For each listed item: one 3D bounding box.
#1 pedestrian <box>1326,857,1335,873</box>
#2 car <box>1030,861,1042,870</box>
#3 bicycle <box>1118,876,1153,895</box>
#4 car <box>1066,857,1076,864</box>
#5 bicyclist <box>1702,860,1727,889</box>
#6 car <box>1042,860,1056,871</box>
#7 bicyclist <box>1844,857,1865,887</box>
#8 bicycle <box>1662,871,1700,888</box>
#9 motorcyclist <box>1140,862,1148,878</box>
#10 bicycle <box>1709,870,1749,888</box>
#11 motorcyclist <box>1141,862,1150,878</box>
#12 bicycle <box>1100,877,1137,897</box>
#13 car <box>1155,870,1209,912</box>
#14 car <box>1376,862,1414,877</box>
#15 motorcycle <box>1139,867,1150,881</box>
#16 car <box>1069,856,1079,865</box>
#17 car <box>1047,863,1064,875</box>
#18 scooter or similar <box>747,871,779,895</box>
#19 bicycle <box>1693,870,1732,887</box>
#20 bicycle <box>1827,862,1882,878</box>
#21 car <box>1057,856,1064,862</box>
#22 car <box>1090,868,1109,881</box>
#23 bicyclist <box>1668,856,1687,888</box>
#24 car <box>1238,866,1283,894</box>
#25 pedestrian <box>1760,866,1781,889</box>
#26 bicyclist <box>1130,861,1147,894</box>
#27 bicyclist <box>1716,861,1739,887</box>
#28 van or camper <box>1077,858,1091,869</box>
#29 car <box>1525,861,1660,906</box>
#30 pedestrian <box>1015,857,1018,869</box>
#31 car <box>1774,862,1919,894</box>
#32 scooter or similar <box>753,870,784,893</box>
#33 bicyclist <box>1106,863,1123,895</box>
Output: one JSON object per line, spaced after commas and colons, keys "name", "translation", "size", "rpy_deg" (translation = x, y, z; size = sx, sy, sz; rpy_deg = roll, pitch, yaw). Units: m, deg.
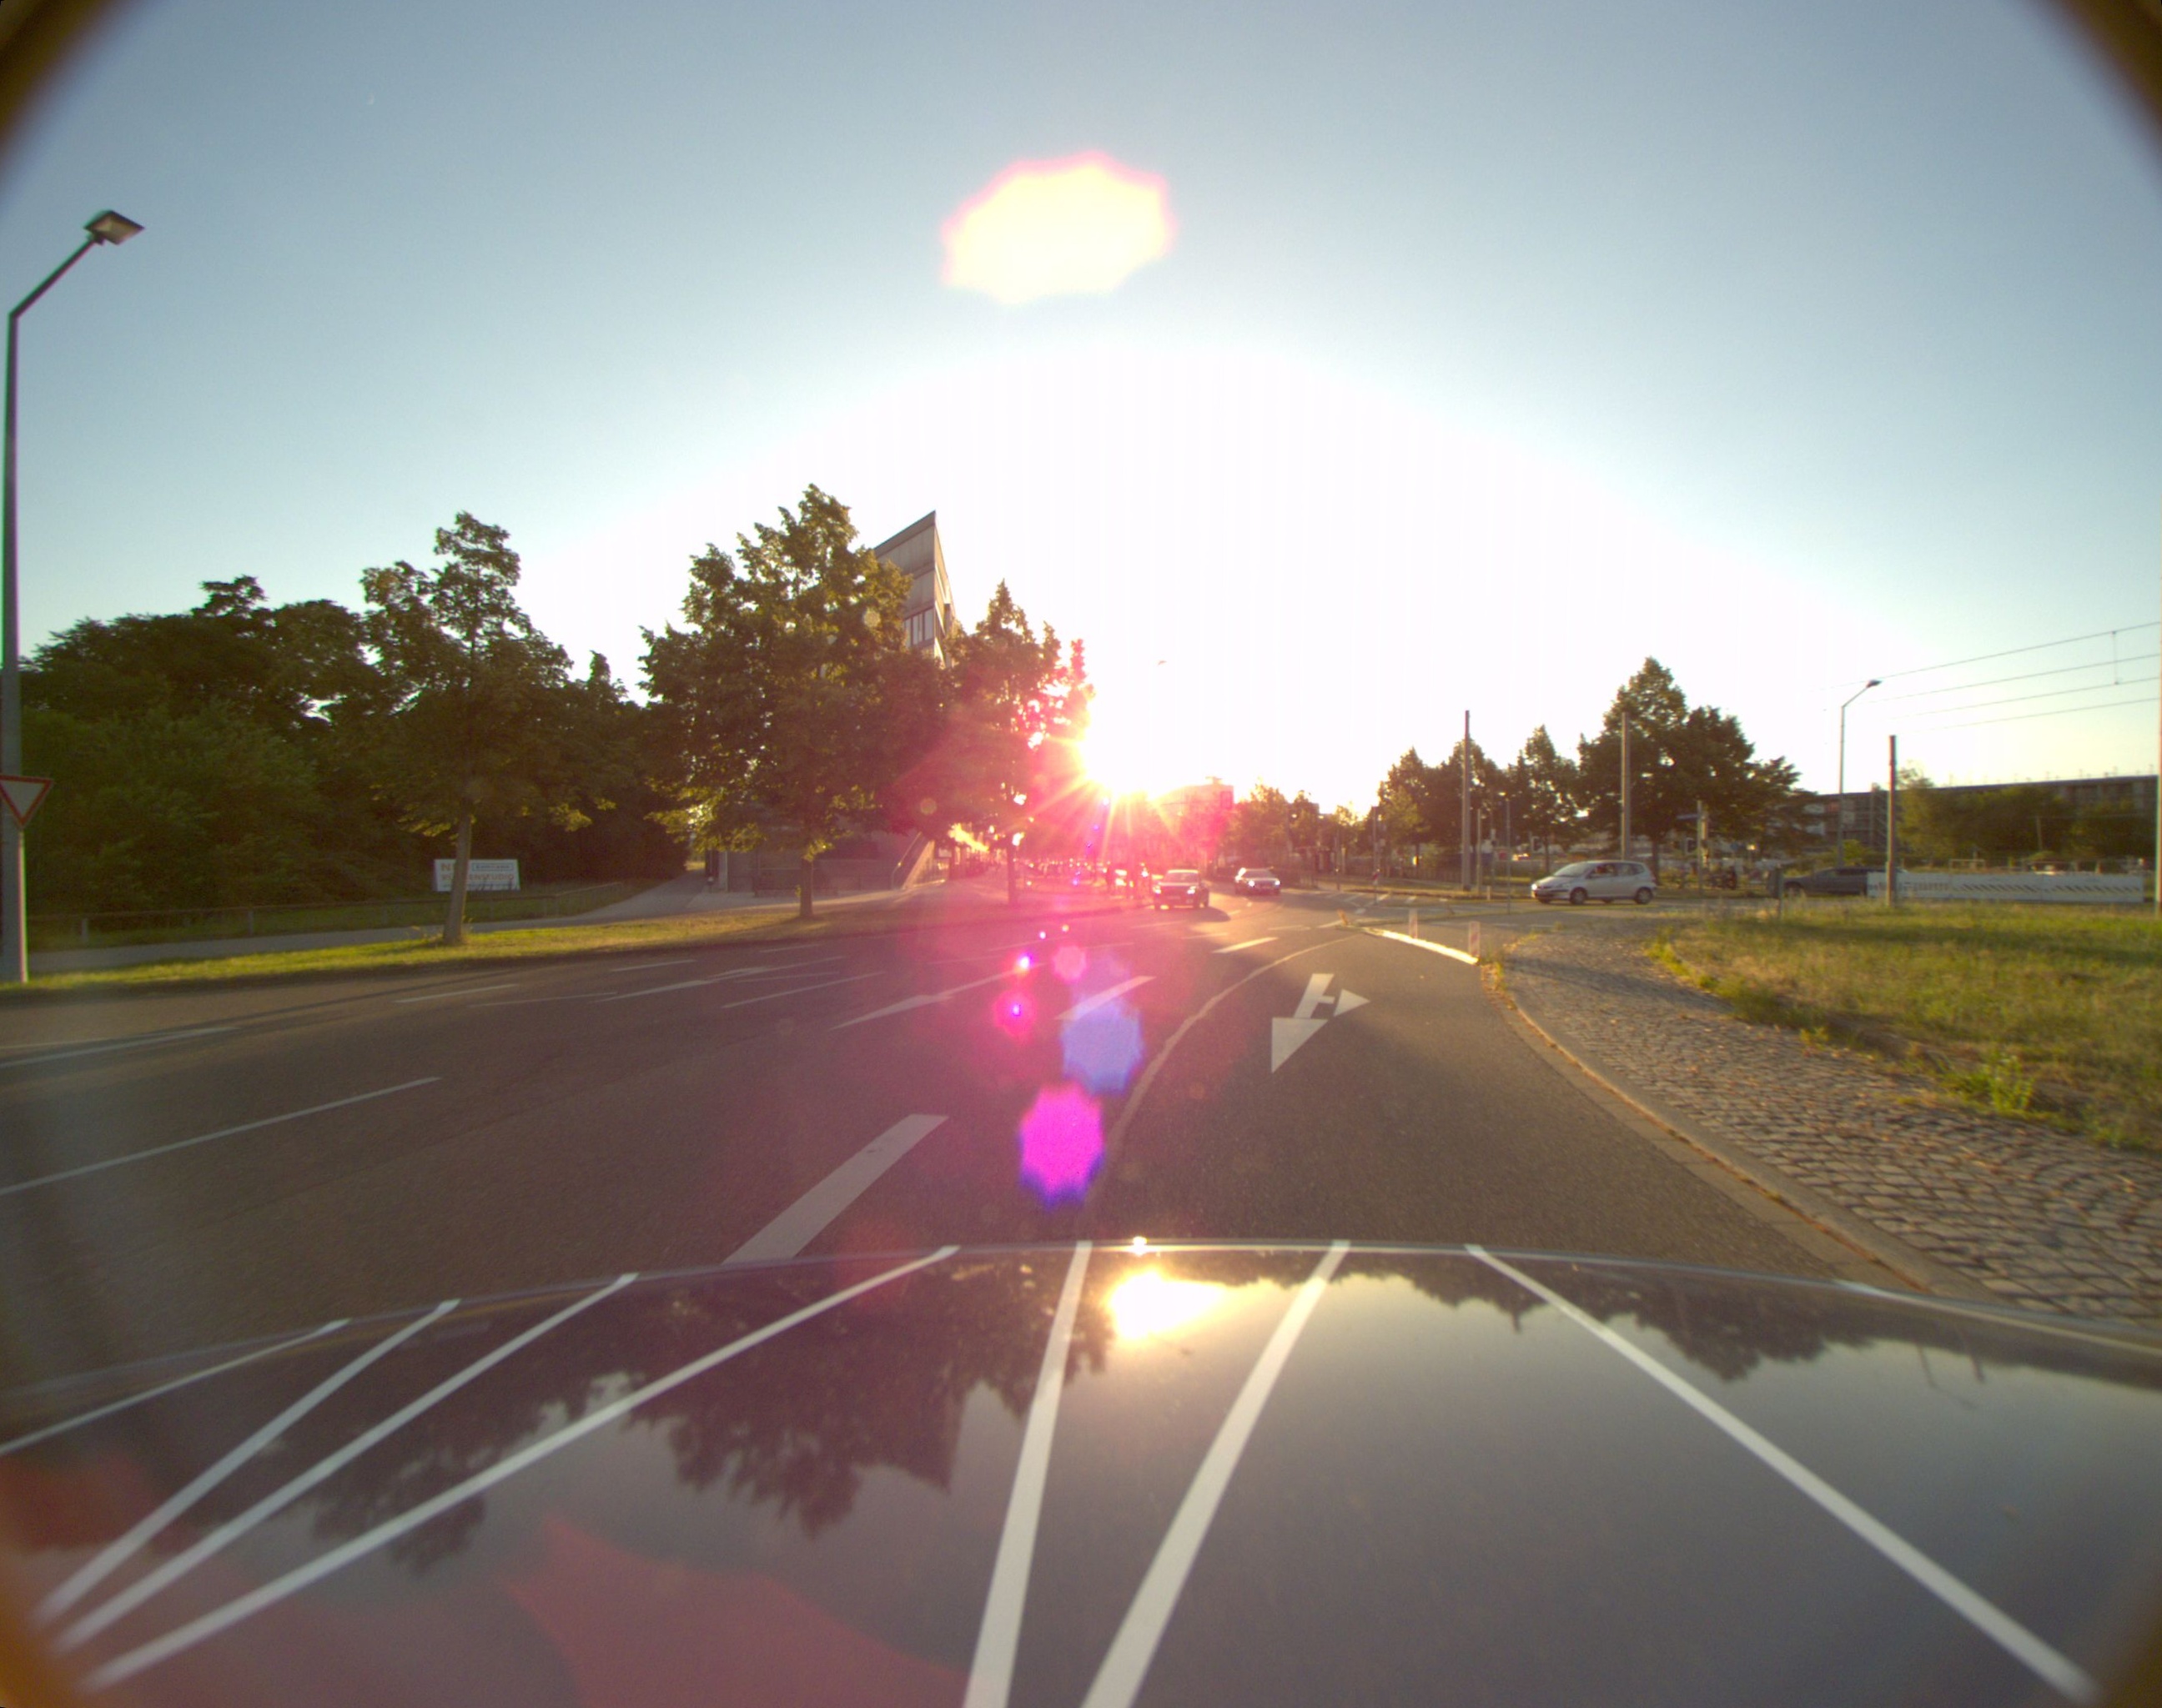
{"name": "pedestrian", "translation": [24.210, 1.064, 73.790], "size": [0.708, 1.623, 0.446], "rpy_deg": [0, 0, -7]}
{"name": "car", "translation": [-7.375, 1.836, 123.696], "size": [1.803, 1.455, 3.998], "rpy_deg": [0, 0, -5]}
{"name": "bicycle", "translation": [2.934, 1.699, 40.976], "size": [1.862, 1.016, 0.438], "rpy_deg": [0, 0, 2]}
{"name": "car", "translation": [-2.480, 1.533, 182.004], "size": [1.894, 1.613, 3.997], "rpy_deg": [-1, 0, -8]}
{"name": "bicyclist", "translation": [36.878, 1.181, 44.232], "size": [0.814, 1.630, 0.815], "rpy_deg": [0, 0, -2]}
{"name": "car", "translation": [-4.528, 1.601, 107.107], "size": [1.803, 1.455, 3.998], "rpy_deg": [0, 0, -5]}
{"name": "bicyclist", "translation": [42.559, 0.996, 41.828], "size": [0.796, 1.624, 0.697], "rpy_deg": [0, 0, 44]}
{"name": "bicycle", "translation": [36.194, 1.550, 45.847], "size": [1.842, 0.975, 0.550], "rpy_deg": [0, 0, -2]}
{"name": "motorcyclist", "translation": [5.480, 1.368, 66.139], "size": [0.636, 1.400, 0.594], "rpy_deg": [0, 1, -7]}
{"name": "bicycle", "translation": [36.948, 1.417, 43.336], "size": [1.842, 0.975, 0.537], "rpy_deg": [0, 0, -2]}
{"name": "motorcyclist", "translation": [5.544, 1.367, 65.485], "size": [0.636, 1.408, 0.714], "rpy_deg": [0, 1, -6]}
{"name": "bicycle", "translation": [1.904, 1.685, 38.850], "size": [1.864, 1.016, 0.307], "rpy_deg": [0, 0, -15]}
{"name": "car", "translation": [3.994, 1.377, 29.616], "size": [1.800, 1.455, 4.004], "rpy_deg": [0, 0, 11]}
{"name": "car", "translation": [29.692, 1.434, 72.016], "size": [1.833, 1.324, 3.999], "rpy_deg": [0, 0, -3]}
{"name": "motorcycle", "translation": [5.489, 1.728, 66.037], "size": [0.558, 1.094, 2.158], "rpy_deg": [-1, 0, -6]}
{"name": "car", "translation": [-1.614, 1.371, 167.197], "size": [1.720, 1.827, 3.997], "rpy_deg": [-1, 0, -9]}
{"name": "car", "translation": [-3.118, 1.797, 91.577], "size": [1.803, 1.455, 3.998], "rpy_deg": [0, 0, -5]}
{"name": "scooter or similar", "translation": [-16.816, 1.533, 40.212], "size": [1.575, 1.213, 0.366], "rpy_deg": [0, 0, 5]}
{"name": "bicycle", "translation": [36.795, 1.442, 44.256], "size": [1.842, 0.975, 0.550], "rpy_deg": [0, 0, -2]}
{"name": "bicycle", "translation": [42.606, 0.863, 41.879], "size": [2.129, 0.841, 0.513], "rpy_deg": [-1, 0, 44]}
{"name": "car", "translation": [-5.487, 1.268, 203.365], "size": [1.803, 1.455, 3.998], "rpy_deg": [0, 0, -5]}
{"name": "car", "translation": [2.262, 2.463, 93.405], "size": [1.892, 1.472, 4.049], "rpy_deg": [0, 0, -5]}
{"name": "bicyclist", "translation": [35.973, 1.074, 45.846], "size": [0.678, 1.907, 0.615], "rpy_deg": [0, 0, -2]}
{"name": "car", "translation": [9.779, 1.390, 41.746], "size": [1.801, 1.414, 4.451], "rpy_deg": [0, 0, 5]}
{"name": "pedestrian", "translation": [40.466, 1.379, 44.586], "size": [0.619, 1.358, 0.695], "rpy_deg": [0, 0, -2]}
{"name": "bicyclist", "translation": [3.068, 1.235, 40.788], "size": [0.848, 1.745, 0.804], "rpy_deg": [0, 0, 1]}
{"name": "bicyclist", "translation": [36.857, 1.143, 43.333], "size": [0.814, 1.497, 0.592], "rpy_deg": [0, 0, -2]}
{"name": "van or camper", "translation": [0.546, 1.760, 143.906], "size": [2.000, 1.946, 5.325], "rpy_deg": [0, 0, -6]}
{"name": "car", "translation": [17.522, 0.988, 26.107], "size": [3.710, 1.457, 1.606], "rpy_deg": [0, 0, -6]}
{"name": "pedestrian", "translation": [-11.149, 1.566, 131.870], "size": [0.539, 2.002, 0.527], "rpy_deg": [-1, 0, -6]}
{"name": "car", "translation": [36.213, 1.076, 36.059], "size": [1.935, 1.407, 4.639], "rpy_deg": [0, -1, -37]}
{"name": "scooter or similar", "translation": [-16.768, 1.493, 40.778], "size": [1.575, 1.213, 0.366], "rpy_deg": [0, 0, 5]}
{"name": "bicyclist", "translation": [1.729, 1.267, 38.854], "size": [0.685, 1.638, 0.683], "rpy_deg": [0, 0, -15]}
